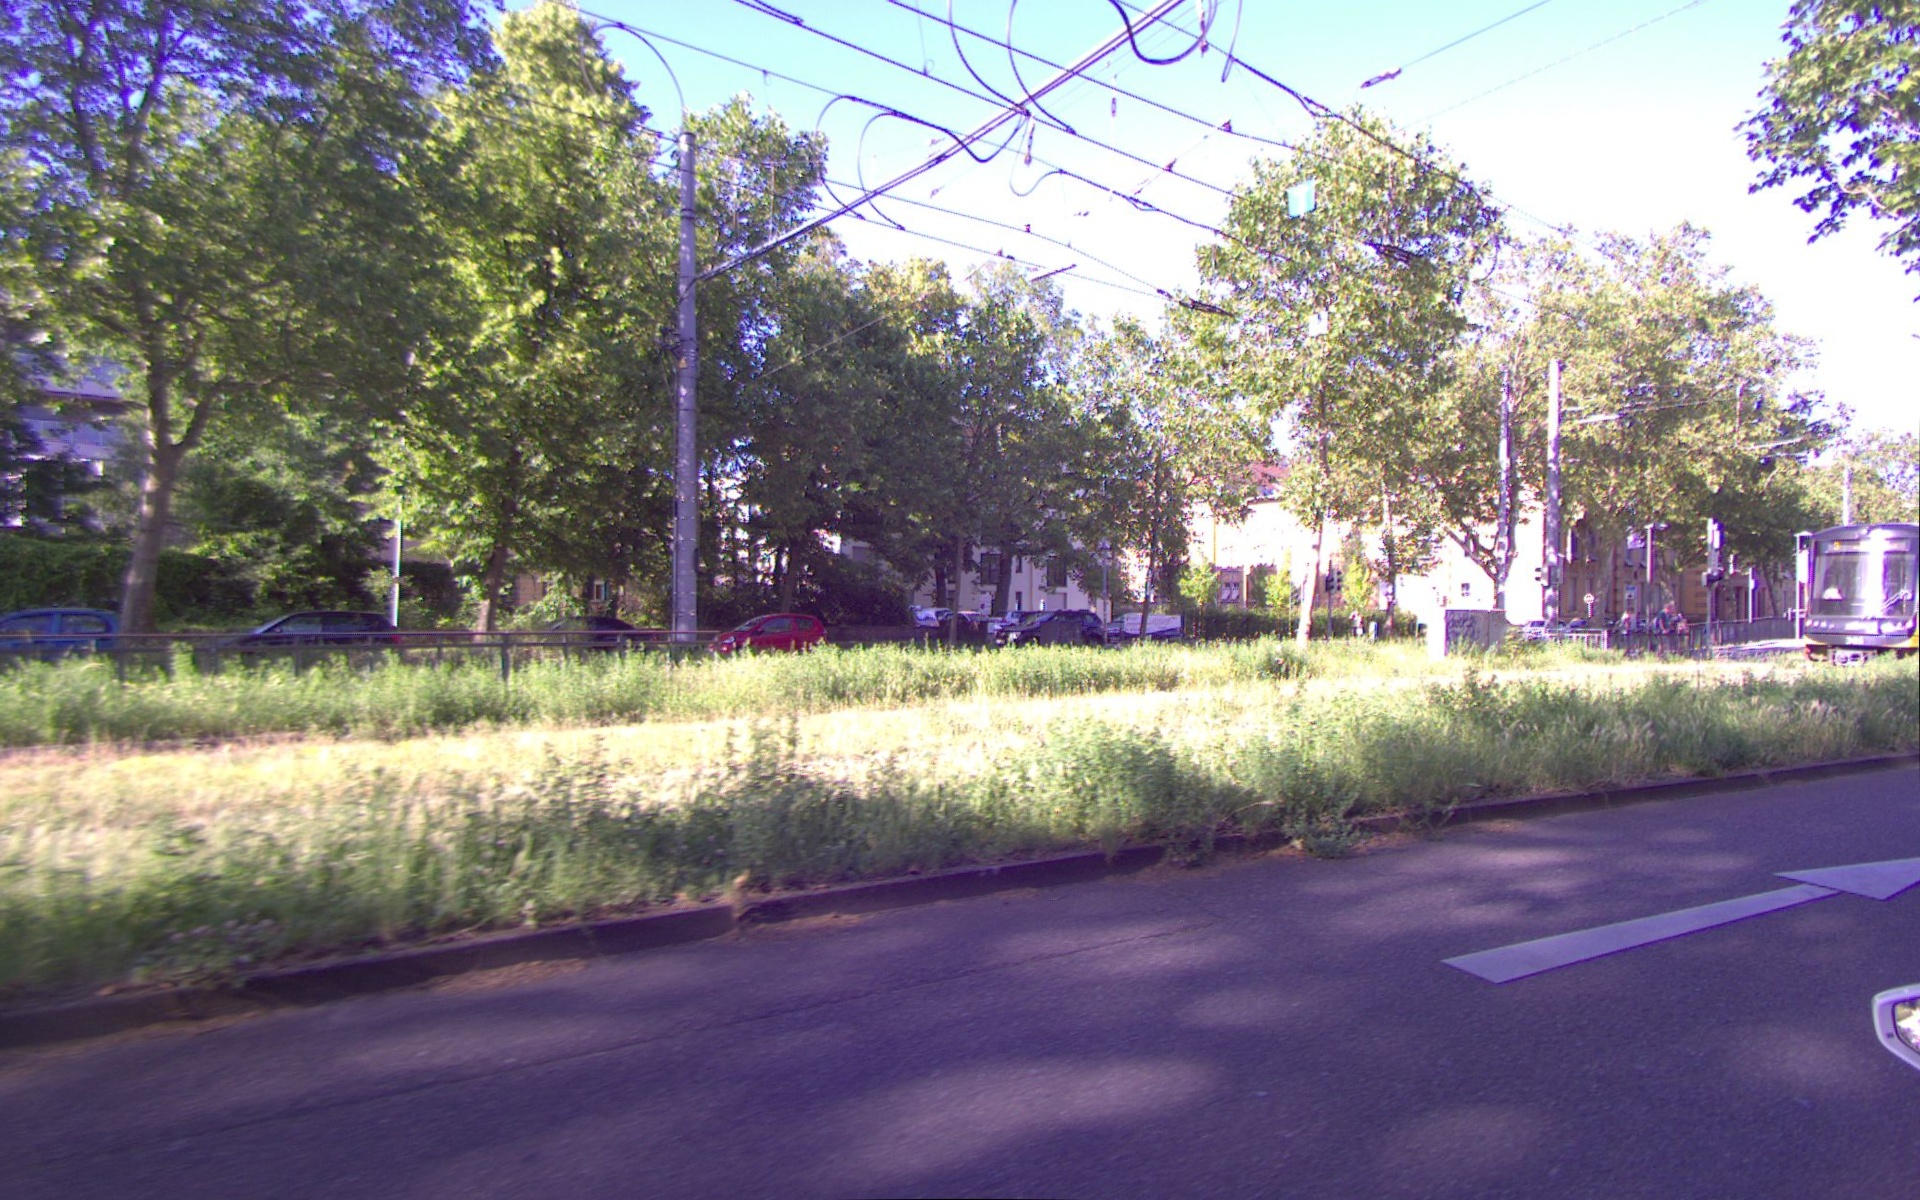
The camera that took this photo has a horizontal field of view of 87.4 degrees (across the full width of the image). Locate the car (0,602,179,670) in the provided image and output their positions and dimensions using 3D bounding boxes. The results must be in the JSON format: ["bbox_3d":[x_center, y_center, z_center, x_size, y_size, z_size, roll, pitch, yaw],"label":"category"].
[{"bbox_3d":[-17.555,0.685,19.821,3.328,1.245,1.397,1,0,-37],"label":"car"}]

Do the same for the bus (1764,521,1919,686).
[{"bbox_3d":[24.908,0.169,26.007,13.084,3.490,2.850,1,0,-35],"label":"bus"}]

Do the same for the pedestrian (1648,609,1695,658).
[{"bbox_3d":[24.990,1.173,35.261,0.886,1.665,1.166,1,0,-42],"label":"pedestrian"}]

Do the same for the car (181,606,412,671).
[{"bbox_3d":[-14.048,0.795,21.440,3.961,1.194,1.780,1,1,-36],"label":"car"}]

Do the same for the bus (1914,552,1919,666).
[{"bbox_3d":[35.145,0.385,33.230,12.092,3.490,2.850,1,0,-35],"label":"bus"}]

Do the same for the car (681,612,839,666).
[{"bbox_3d":[-5.626,1.055,28.398,3.958,1.328,1.981,0,2,-34],"label":"car"}]
